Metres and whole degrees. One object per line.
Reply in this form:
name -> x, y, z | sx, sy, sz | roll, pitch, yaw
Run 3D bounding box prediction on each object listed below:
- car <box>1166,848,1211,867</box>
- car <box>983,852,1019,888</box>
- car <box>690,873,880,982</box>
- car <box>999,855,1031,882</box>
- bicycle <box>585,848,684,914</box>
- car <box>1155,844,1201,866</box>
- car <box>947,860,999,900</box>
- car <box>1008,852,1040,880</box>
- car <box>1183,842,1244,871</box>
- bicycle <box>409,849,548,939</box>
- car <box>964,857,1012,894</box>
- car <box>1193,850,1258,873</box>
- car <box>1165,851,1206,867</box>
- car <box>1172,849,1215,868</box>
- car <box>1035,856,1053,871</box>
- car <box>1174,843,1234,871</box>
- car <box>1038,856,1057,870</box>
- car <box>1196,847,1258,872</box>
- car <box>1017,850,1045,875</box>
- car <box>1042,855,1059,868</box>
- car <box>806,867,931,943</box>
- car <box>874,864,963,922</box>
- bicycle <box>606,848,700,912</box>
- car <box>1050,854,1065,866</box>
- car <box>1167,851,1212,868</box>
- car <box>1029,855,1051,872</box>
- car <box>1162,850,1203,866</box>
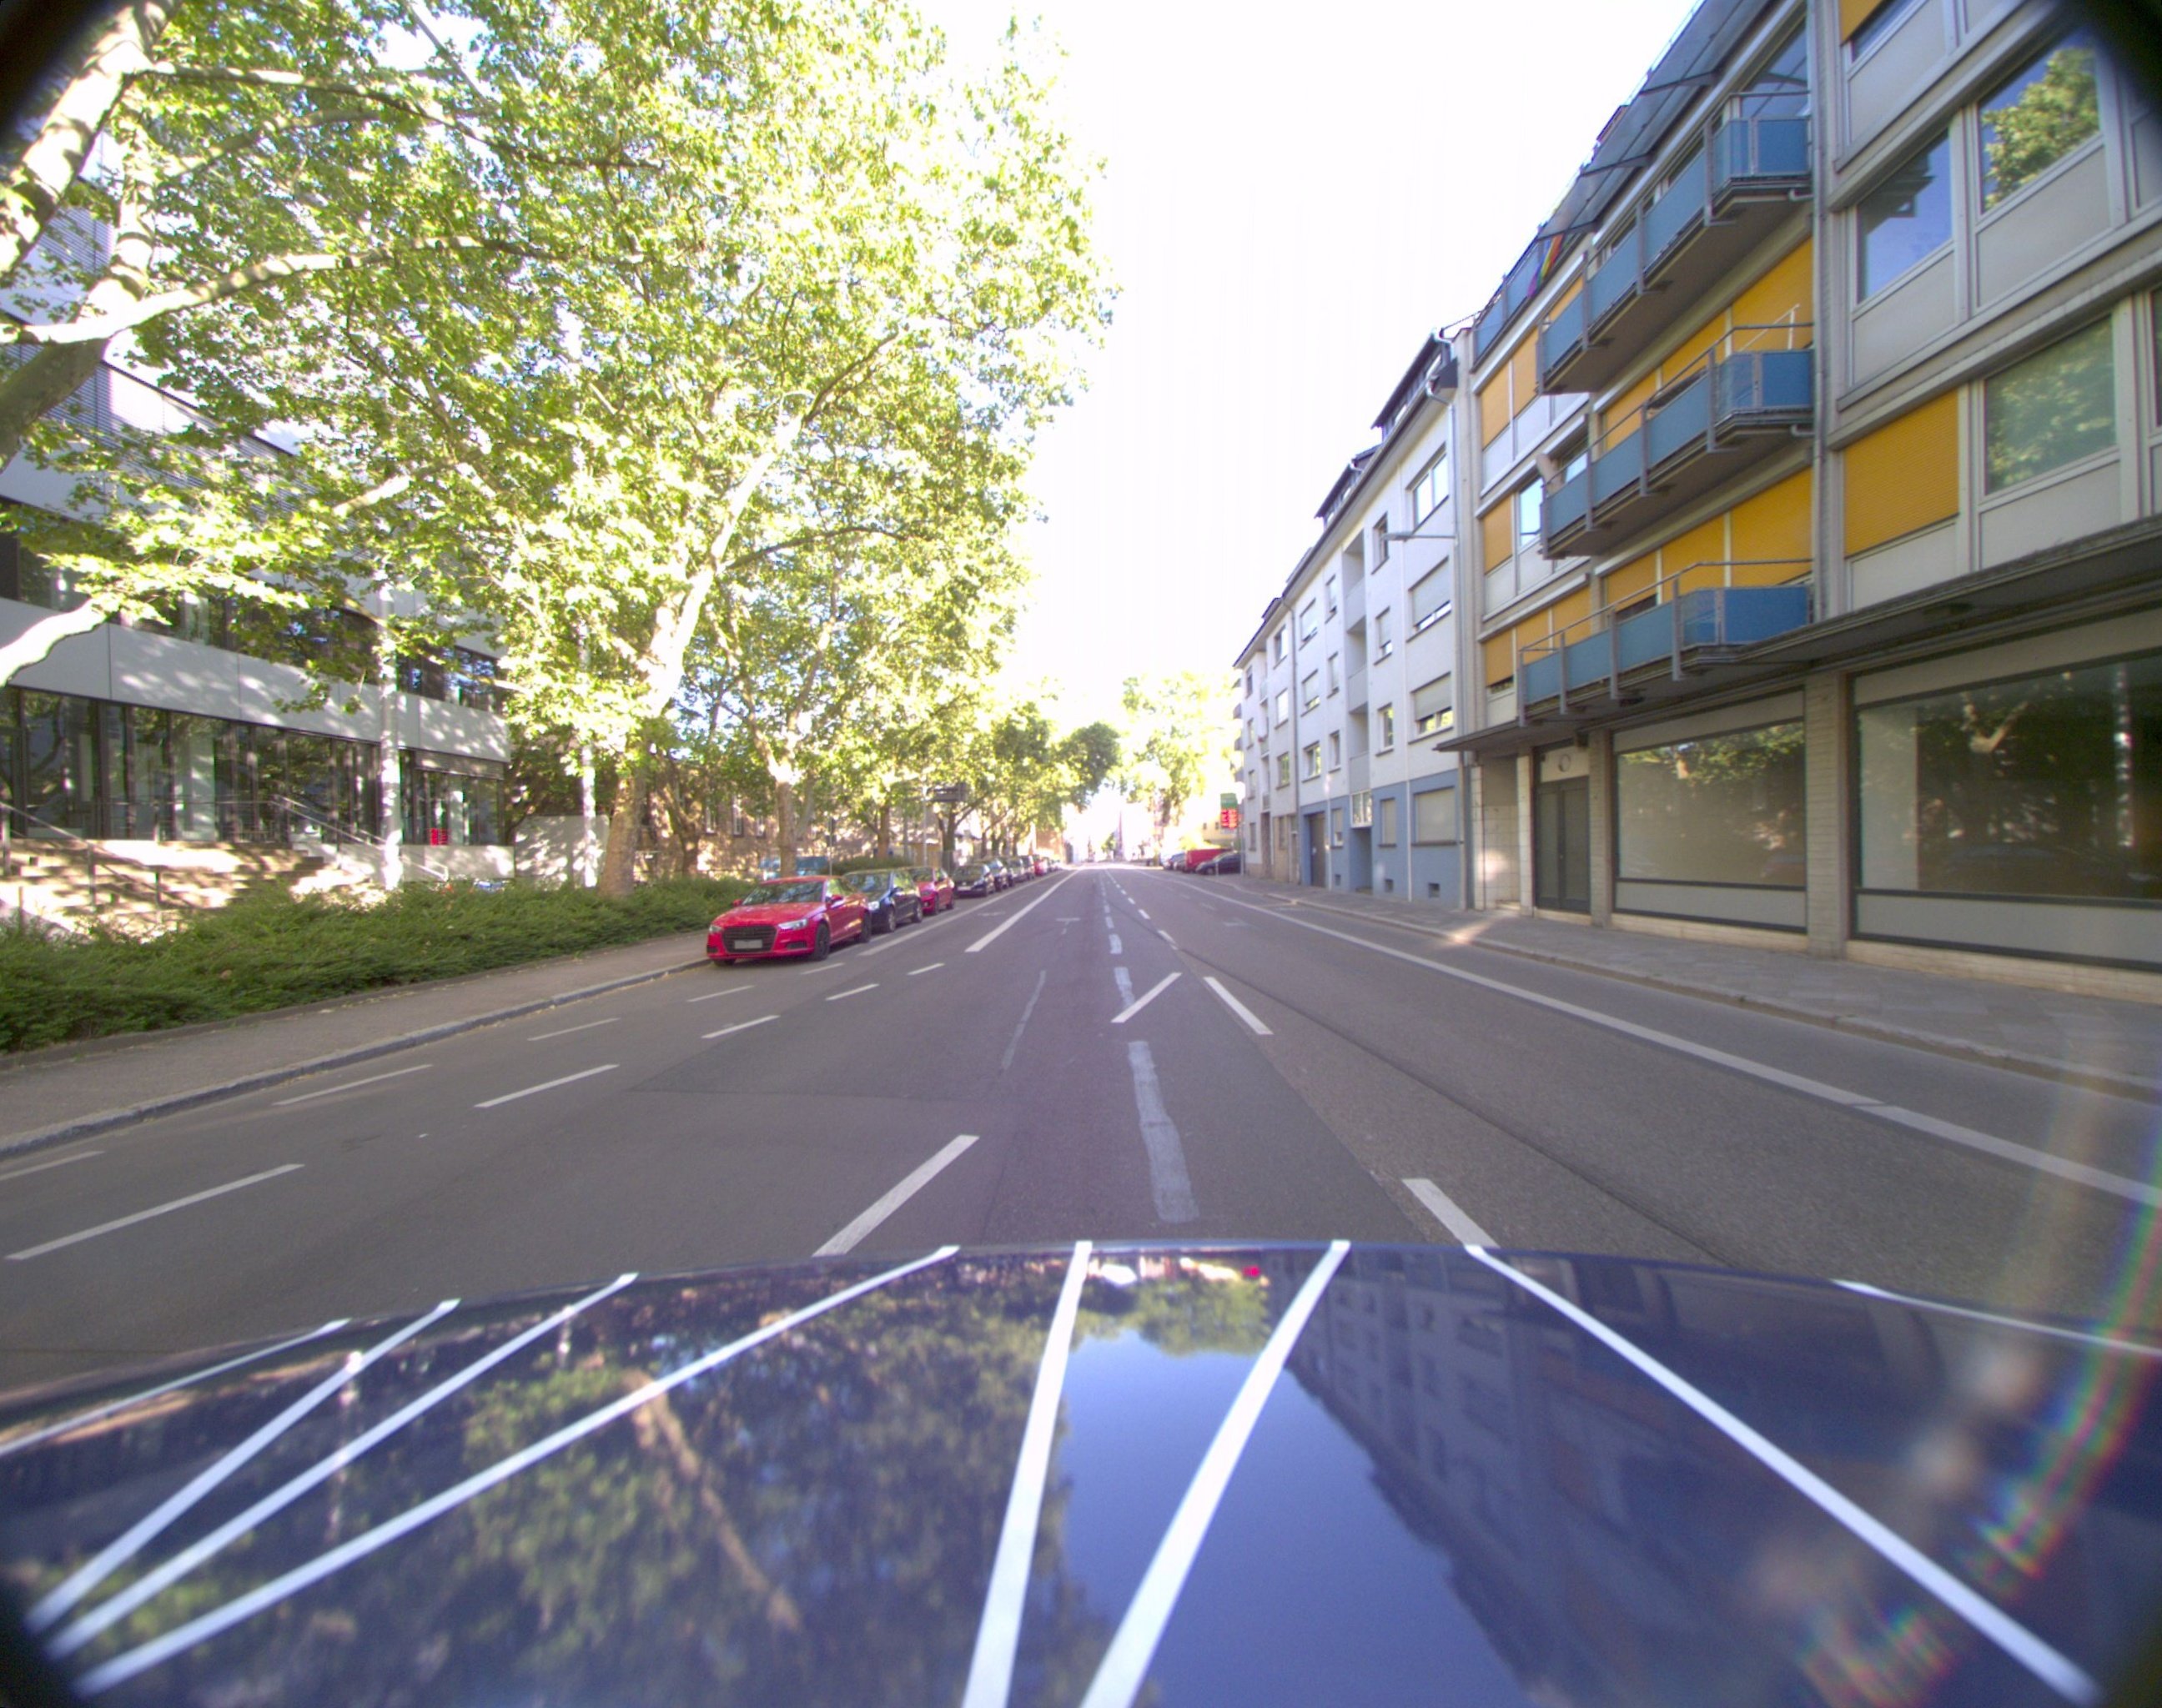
car -> 10.721, 0.363, 76.017 | 4.204, 1.674, 2.028 | -3, 0, 1
car -> -4.691, 0.895, 44.289 | 1.830, 1.830, 4.896 | -4, 0, -7
car -> -5.101, 1.177, 13.816 | 1.697, 1.441, 4.435 | -4, 0, -1
car -> -4.387, 0.945, 50.892 | 1.697, 1.618, 4.329 | -4, 0, -1
bicycle -> -13.993, 0.842, 23.857 | 2.604, 2.002, 0.742 | -1, 1, 1
car -> 10.883, 0.087, 85.370 | 4.856, 2.204, 2.140 | -3, 0, 1
car -> -4.656, 1.077, 33.269 | 1.697, 1.495, 4.019 | -4, 0, -1
car -> -4.118, 0.845, 55.426 | 1.697, 1.802, 4.130 | -4, 0, 3
car -> 10.451, 0.180, 60.152 | 4.432, 1.940, 2.146 | -4, 0, 1
bicycle -> -13.999, 0.909, 17.684 | 2.604, 2.002, 0.742 | -1, 1, 1
car -> -4.617, 1.010, 38.262 | 1.780, 1.618, 4.620 | -4, 0, 0
car -> 10.410, 0.542, 54.961 | 4.239, 1.372, 2.046 | -3, 1, 1
car -> 10.826, 0.518, 78.686 | 3.997, 1.424, 1.853 | -3, 0, 1
car -> 10.455, 0.378, 71.045 | 3.694, 1.504, 1.831 | -4, 0, 1
car -> -3.922, 0.993, 80.637 | 1.617, 1.466, 3.493 | -4, 0, 0
car -> 10.138, 0.228, 62.938 | 4.533, 1.940, 2.057 | -4, 0, 1
car -> -3.801, 0.984, 86.457 | 1.860, 1.513, 4.599 | -3, 0, 0
car -> 10.940, 0.397, 57.148 | 4.183, 1.554, 1.886 | -4, 0, 1
car -> -4.336, 0.689, 66.765 | 2.083, 1.982, 5.171 | -3, 0, -1
car -> -3.699, 0.892, 92.525 | 1.860, 1.514, 4.297 | -3, 0, 0
car -> -5.028, 1.151, 18.607 | 1.697, 1.458, 4.066 | -4, 0, 2
car -> -4.970, 1.148, 23.870 | 1.697, 1.470, 4.318 | -4, 0, 1
bicycle -> -13.943, 0.829, 24.785 | 2.604, 2.002, 0.742 | -1, 1, 1
car -> -3.182, 0.817, 103.341 | 1.860, 1.428, 4.969 | -2, 0, -2
car -> 10.390, 0.518, 73.135 | 3.997, 1.447, 1.916 | -3, 0, 1
car -> -3.865, 0.906, 71.680 | 1.641, 1.476, 3.760 | -4, 0, 3
car -> 10.775, 0.447, 80.812 | 3.997, 1.550, 1.853 | -3, 0, 1
